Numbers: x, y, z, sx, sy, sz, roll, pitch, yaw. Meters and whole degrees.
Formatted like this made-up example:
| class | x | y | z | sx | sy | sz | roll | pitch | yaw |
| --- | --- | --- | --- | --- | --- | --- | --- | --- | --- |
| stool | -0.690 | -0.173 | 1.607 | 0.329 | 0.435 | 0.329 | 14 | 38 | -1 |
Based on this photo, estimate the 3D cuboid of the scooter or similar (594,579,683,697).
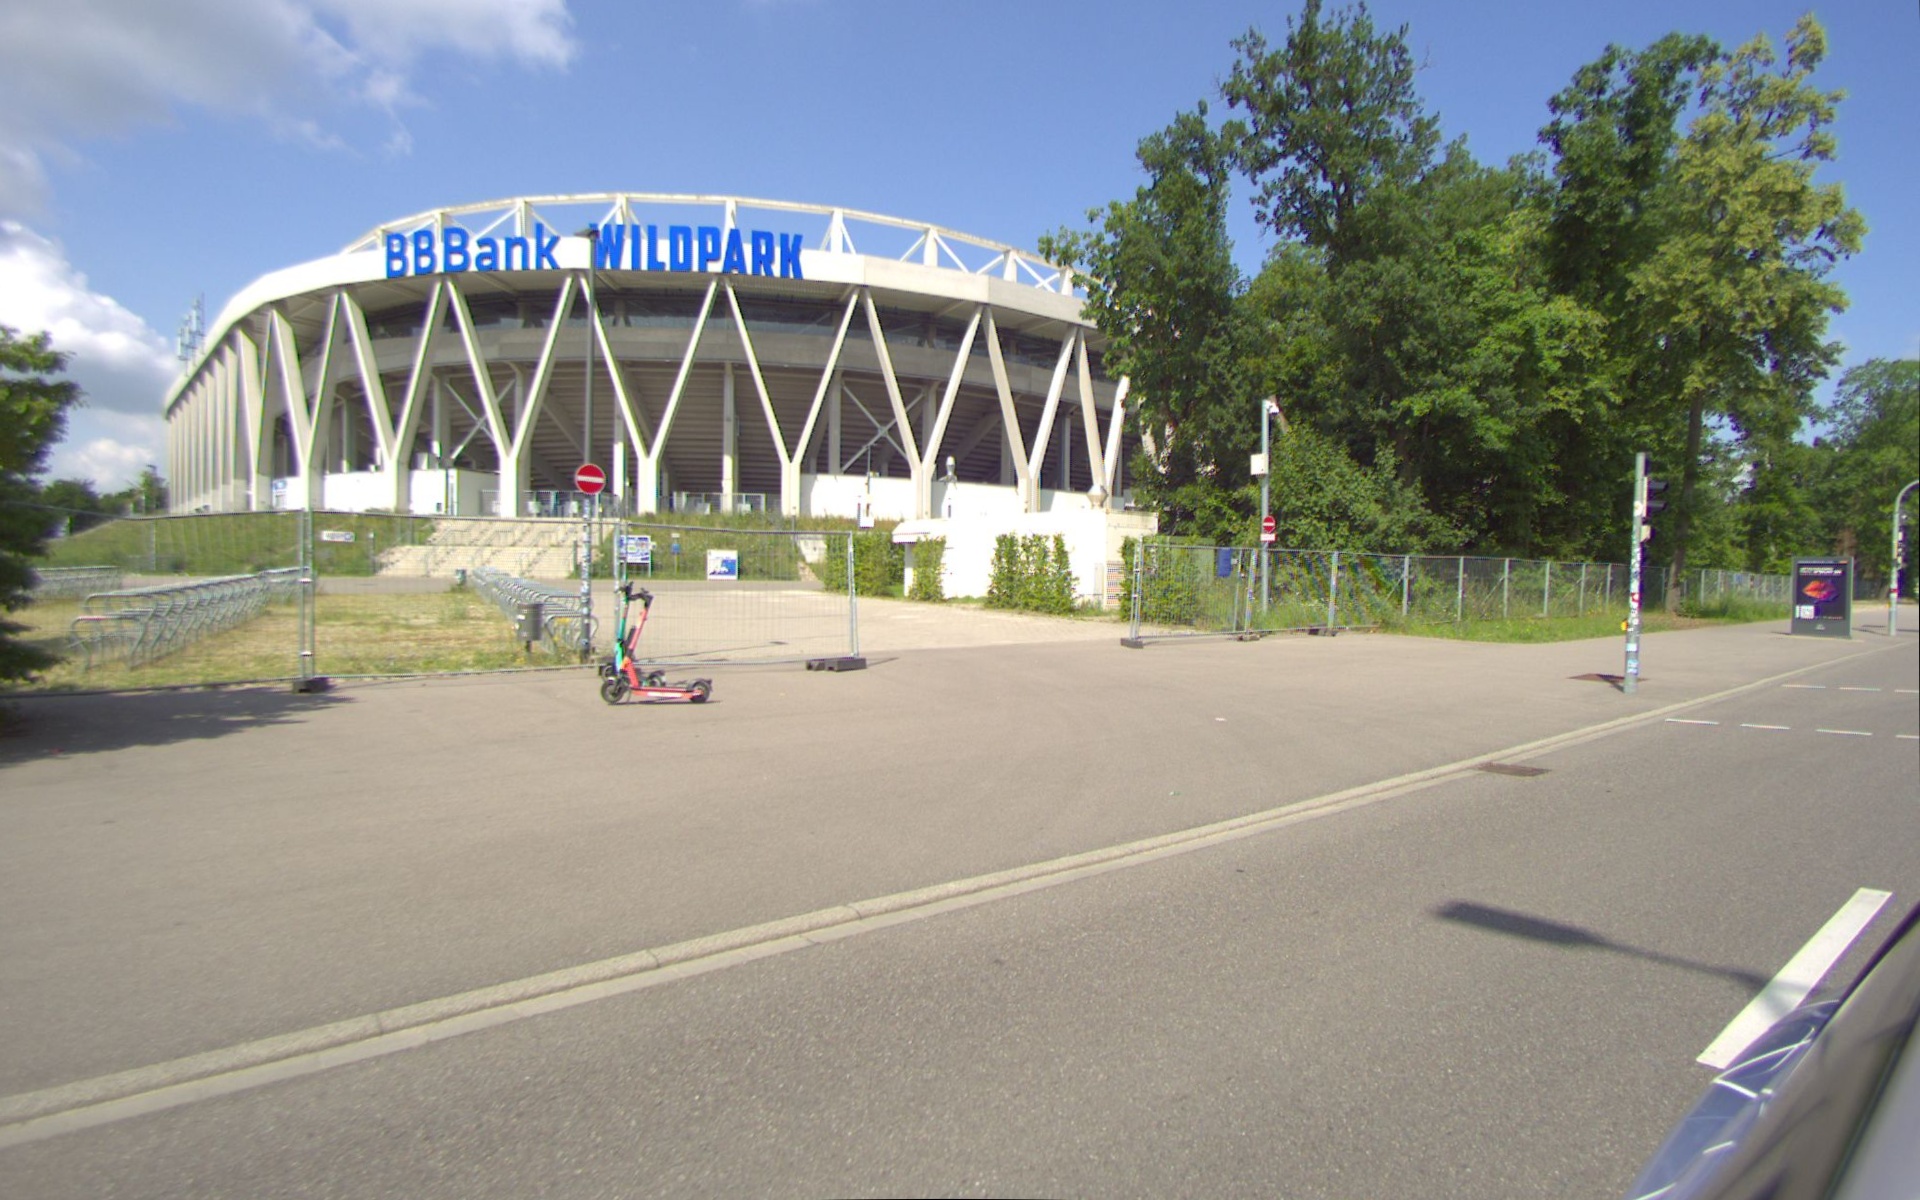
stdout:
| class | x | y | z | sx | sy | sz | roll | pitch | yaw |
| --- | --- | --- | --- | --- | --- | --- | --- | --- | --- |
| scooter or similar | -3.716 | 0.402 | 11.663 | 1.307 | 1.267 | 0.401 | 3 | 2 | 44 |

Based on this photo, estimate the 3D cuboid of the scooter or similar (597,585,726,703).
| class | x | y | z | sx | sy | sz | roll | pitch | yaw |
| --- | --- | --- | --- | --- | --- | --- | --- | --- | --- |
| scooter or similar | -3.186 | 0.469 | 10.884 | 1.284 | 1.215 | 0.408 | 1 | 1 | -13 |
